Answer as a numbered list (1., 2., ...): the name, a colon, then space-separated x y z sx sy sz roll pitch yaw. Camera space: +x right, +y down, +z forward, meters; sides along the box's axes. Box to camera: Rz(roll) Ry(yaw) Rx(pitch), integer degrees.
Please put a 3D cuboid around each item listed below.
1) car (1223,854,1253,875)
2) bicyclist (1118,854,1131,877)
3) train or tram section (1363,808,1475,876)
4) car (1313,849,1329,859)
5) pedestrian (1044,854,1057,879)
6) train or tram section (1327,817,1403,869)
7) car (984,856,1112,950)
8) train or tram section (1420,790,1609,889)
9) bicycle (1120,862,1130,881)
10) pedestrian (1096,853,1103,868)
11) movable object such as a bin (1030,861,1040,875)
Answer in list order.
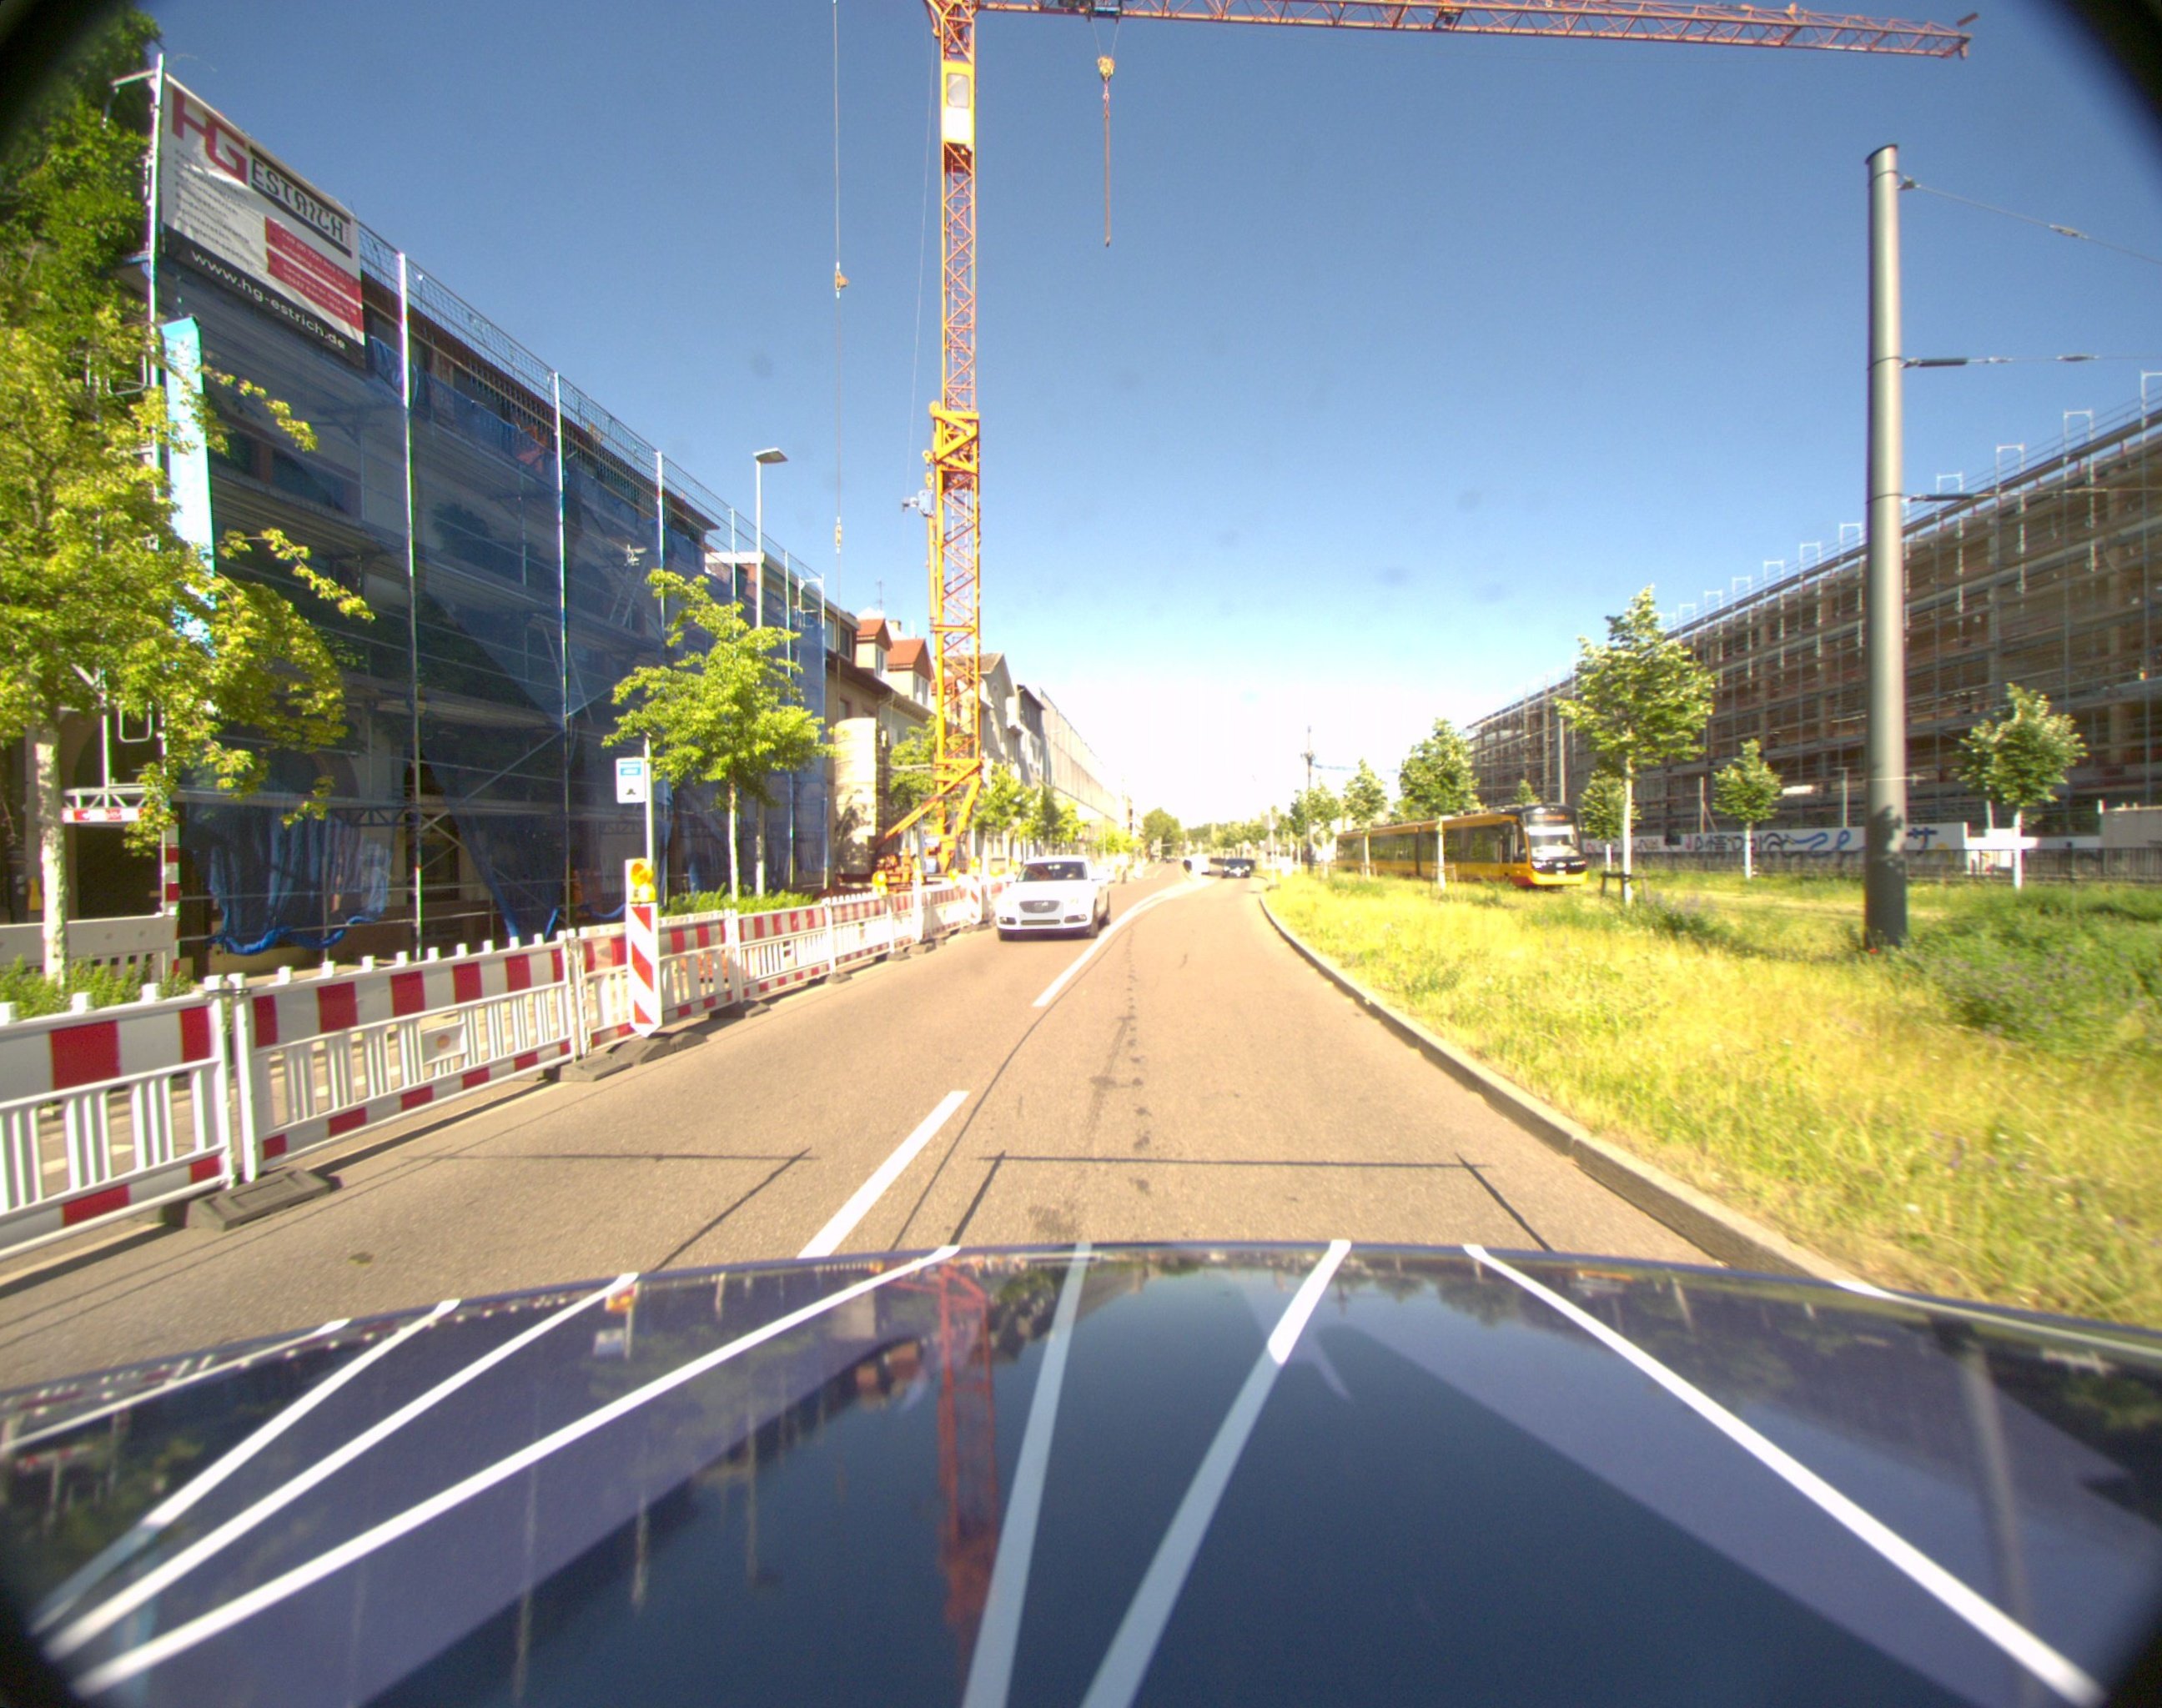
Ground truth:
1. car: 11.329 0.743 55.090 1.926 1.435 4.180 -1 0 10
2. bicyclist: 2.797 0.715 48.679 0.755 1.454 0.587 -2 1 2
3. train or tram section: 20.468 -0.667 47.089 2.821 3.617 12.796 -1 0 8
4. car: 49.031 -0.002 155.135 2.336 2.146 4.399 -1 0 7
5. pedestrian: -2.369 0.969 58.525 0.796 1.917 0.769 -2 0 -14
6. train or tram section: 22.026 -0.784 59.824 2.821 3.617 12.796 -1 0 8
7. car: -0.528 0.897 15.802 1.933 1.624 4.002 -2 0 7
8. train or tram section: 18.804 -0.557 34.379 2.821 3.617 12.796 -1 0 8
9. bicycle: 2.810 1.127 48.714 0.610 1.144 1.987 0 0 2
10. pedestrian: 2.453 0.880 101.687 0.877 1.914 0.895 2 3 7
11. movable object such as a bin: -3.709 1.132 61.359 0.589 1.101 0.704 -2 0 8
